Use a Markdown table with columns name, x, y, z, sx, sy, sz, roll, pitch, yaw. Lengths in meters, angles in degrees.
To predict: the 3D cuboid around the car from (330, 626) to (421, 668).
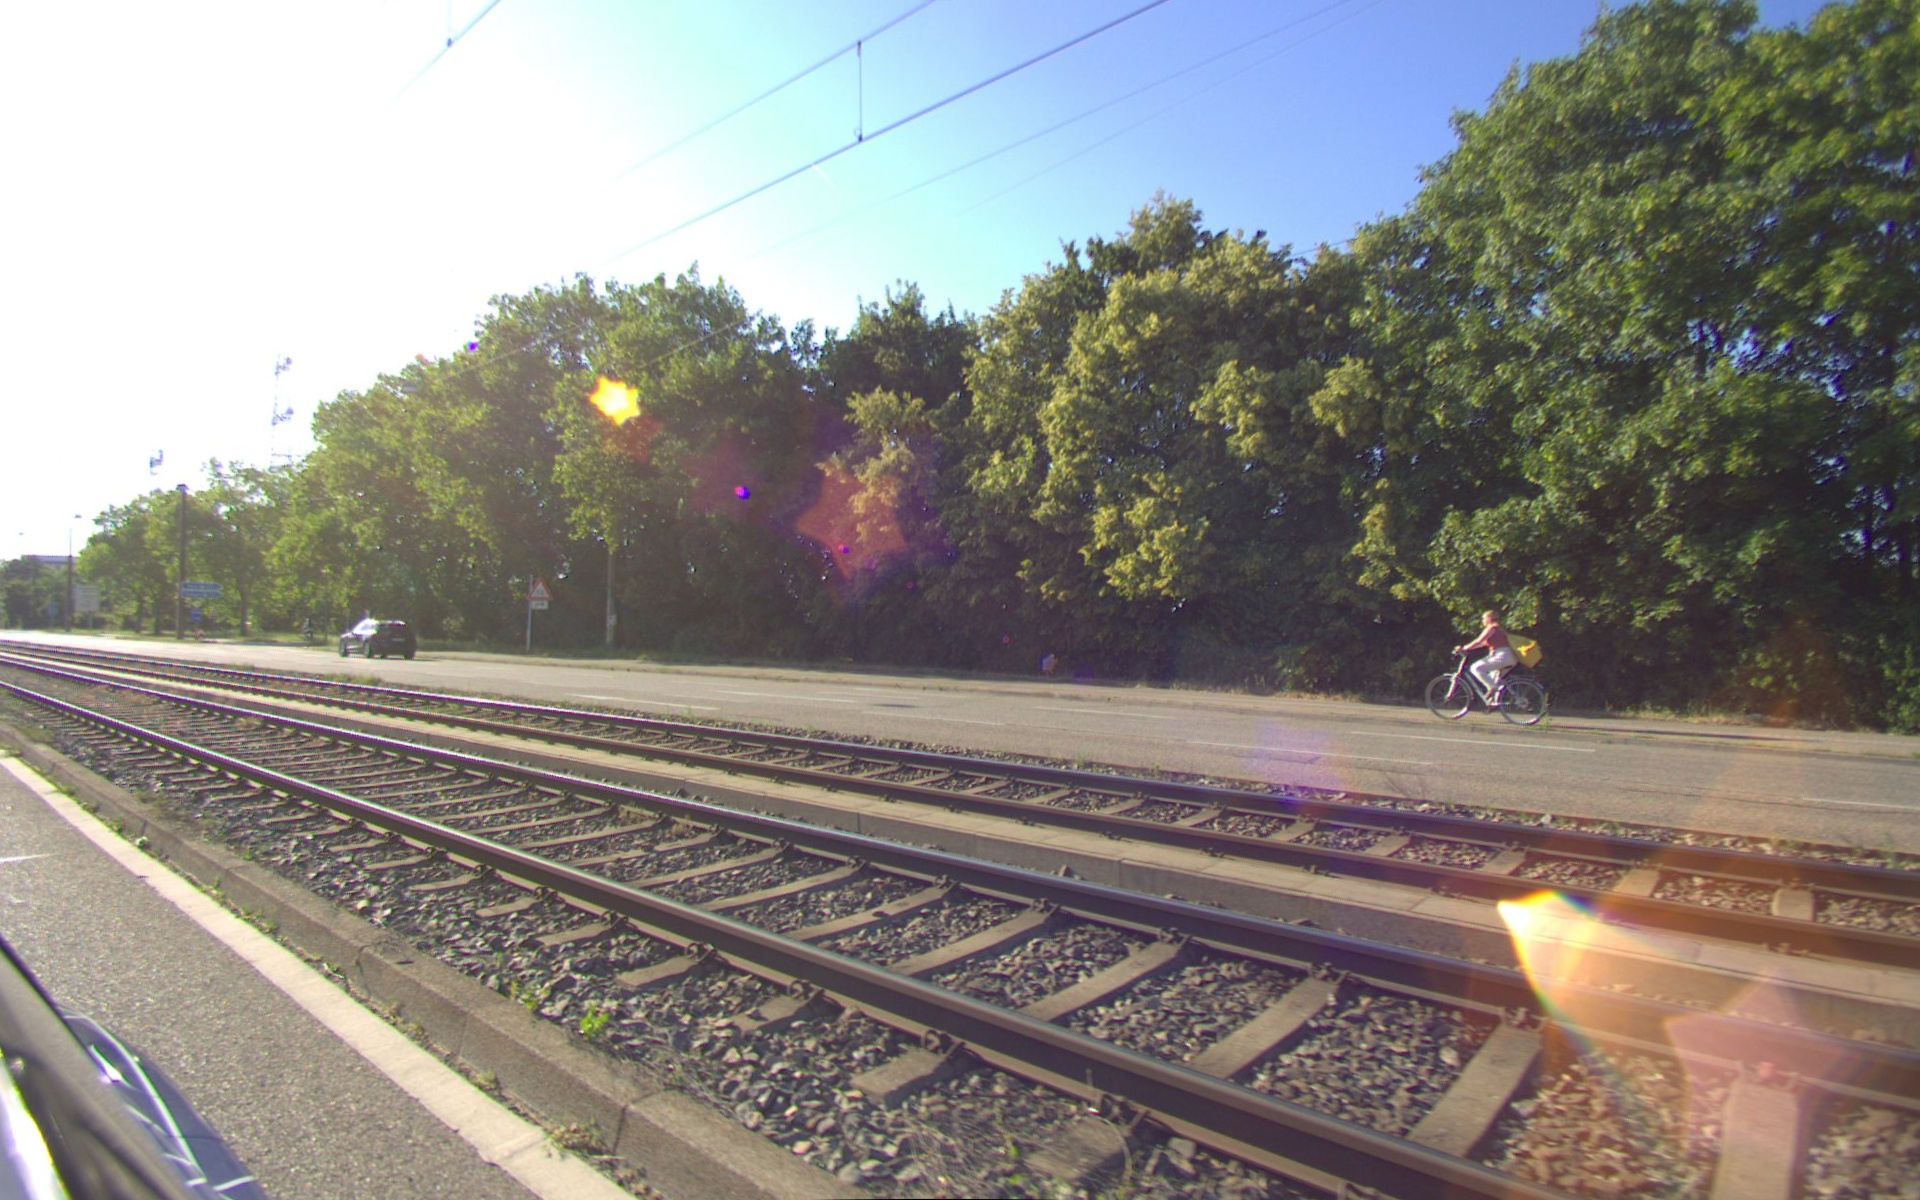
| name | x | y | z | sx | sy | sz | roll | pitch | yaw |
| --- | --- | --- | --- | --- | --- | --- | --- | --- | --- |
| car | -25.497 | 2.039 | 44.072 | 4.793 | 1.698 | 1.972 | -1 | -3 | 42 |

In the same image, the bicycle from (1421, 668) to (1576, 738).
| name | x | y | z | sx | sy | sz | roll | pitch | yaw |
| --- | --- | --- | --- | --- | --- | --- | --- | --- | --- |
| bicycle | 8.173 | 1.545 | 15.441 | 2.028 | 0.899 | 0.502 | -1 | 0 | 44 |

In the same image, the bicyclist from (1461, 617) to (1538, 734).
| name | x | y | z | sx | sy | sz | roll | pitch | yaw |
| --- | --- | --- | --- | --- | --- | --- | --- | --- | --- |
| bicyclist | 8.206 | 1.120 | 15.403 | 0.919 | 1.700 | 0.502 | -1 | 0 | 44 |

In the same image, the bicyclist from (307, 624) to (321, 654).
| name | x | y | z | sx | sy | sz | roll | pitch | yaw |
| --- | --- | --- | --- | --- | --- | --- | --- | --- | --- |
| bicyclist | -37.942 | 2.276 | 59.424 | 0.544 | 1.703 | 0.820 | -1 | 0 | -45 |

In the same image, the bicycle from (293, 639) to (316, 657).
| name | x | y | z | sx | sy | sz | roll | pitch | yaw |
| --- | --- | --- | --- | --- | --- | --- | --- | --- | --- |
| bicycle | -38.271 | 2.813 | 59.087 | 2.238 | 0.993 | 0.544 | -1 | 0 | 43 |
